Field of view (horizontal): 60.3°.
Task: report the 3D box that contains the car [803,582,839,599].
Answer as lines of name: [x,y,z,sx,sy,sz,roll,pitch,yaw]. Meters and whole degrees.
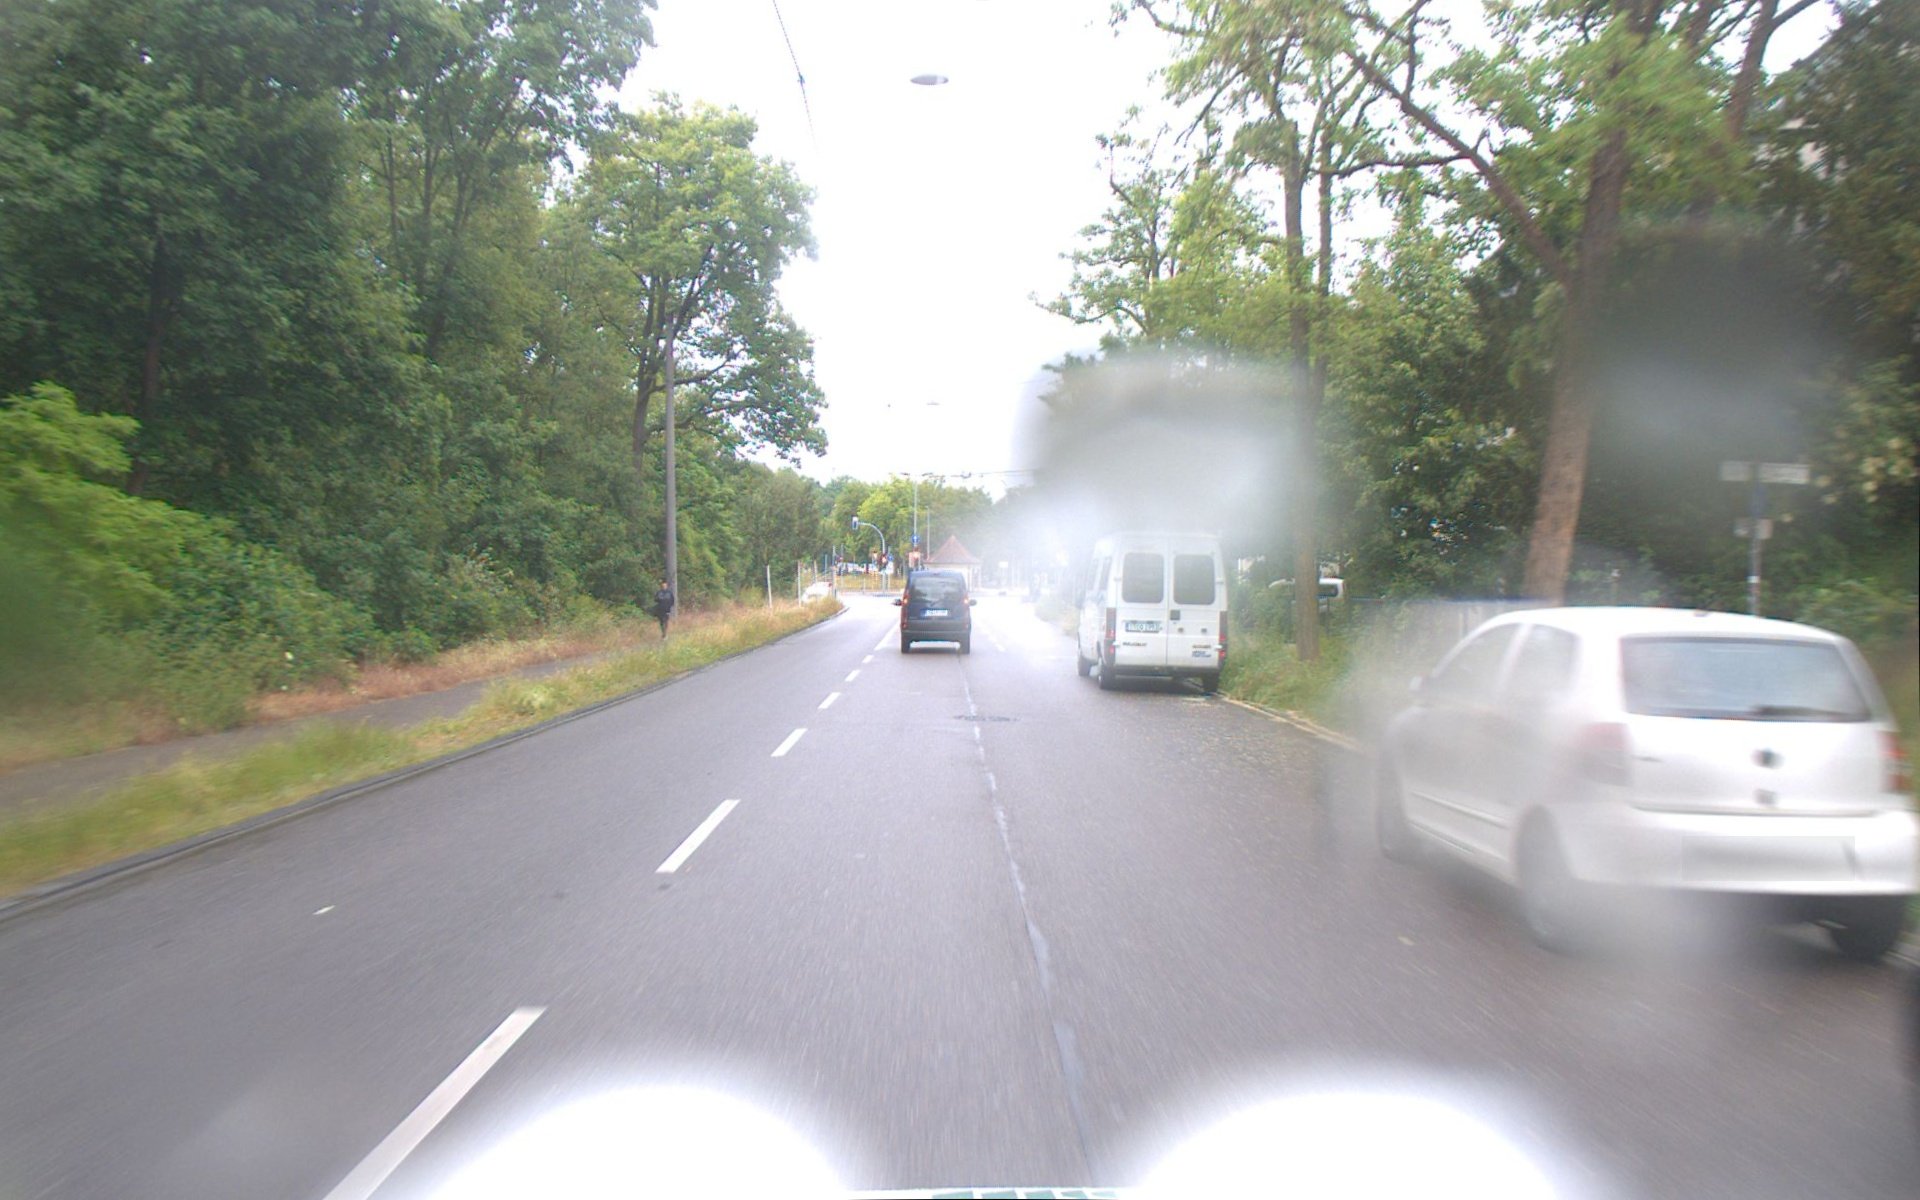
car: [-12.168,-0.823,145.135,1.951,1.334,4.364,-2,1,13]

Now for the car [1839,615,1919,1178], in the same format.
car: [3.313,0.833,2.859,1.583,1.496,3.945,2,0,2]

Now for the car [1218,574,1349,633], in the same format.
car: [10.879,0.110,55.734,4.212,1.849,1.876,2,1,10]

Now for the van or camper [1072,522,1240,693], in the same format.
van or camper: [3.194,0.086,28.144,1.996,2.522,5.637,3,0,-1]

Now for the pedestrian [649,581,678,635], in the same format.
pedestrian: [-9.053,0.239,50.556,0.765,1.636,0.732,0,0,-2]

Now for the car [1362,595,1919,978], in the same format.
car: [3.361,0.762,8.641,1.539,1.498,3.765,2,0,0]

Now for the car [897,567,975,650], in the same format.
car: [-0.562,0.169,38.821,1.696,1.817,3.999,1,1,-1]
